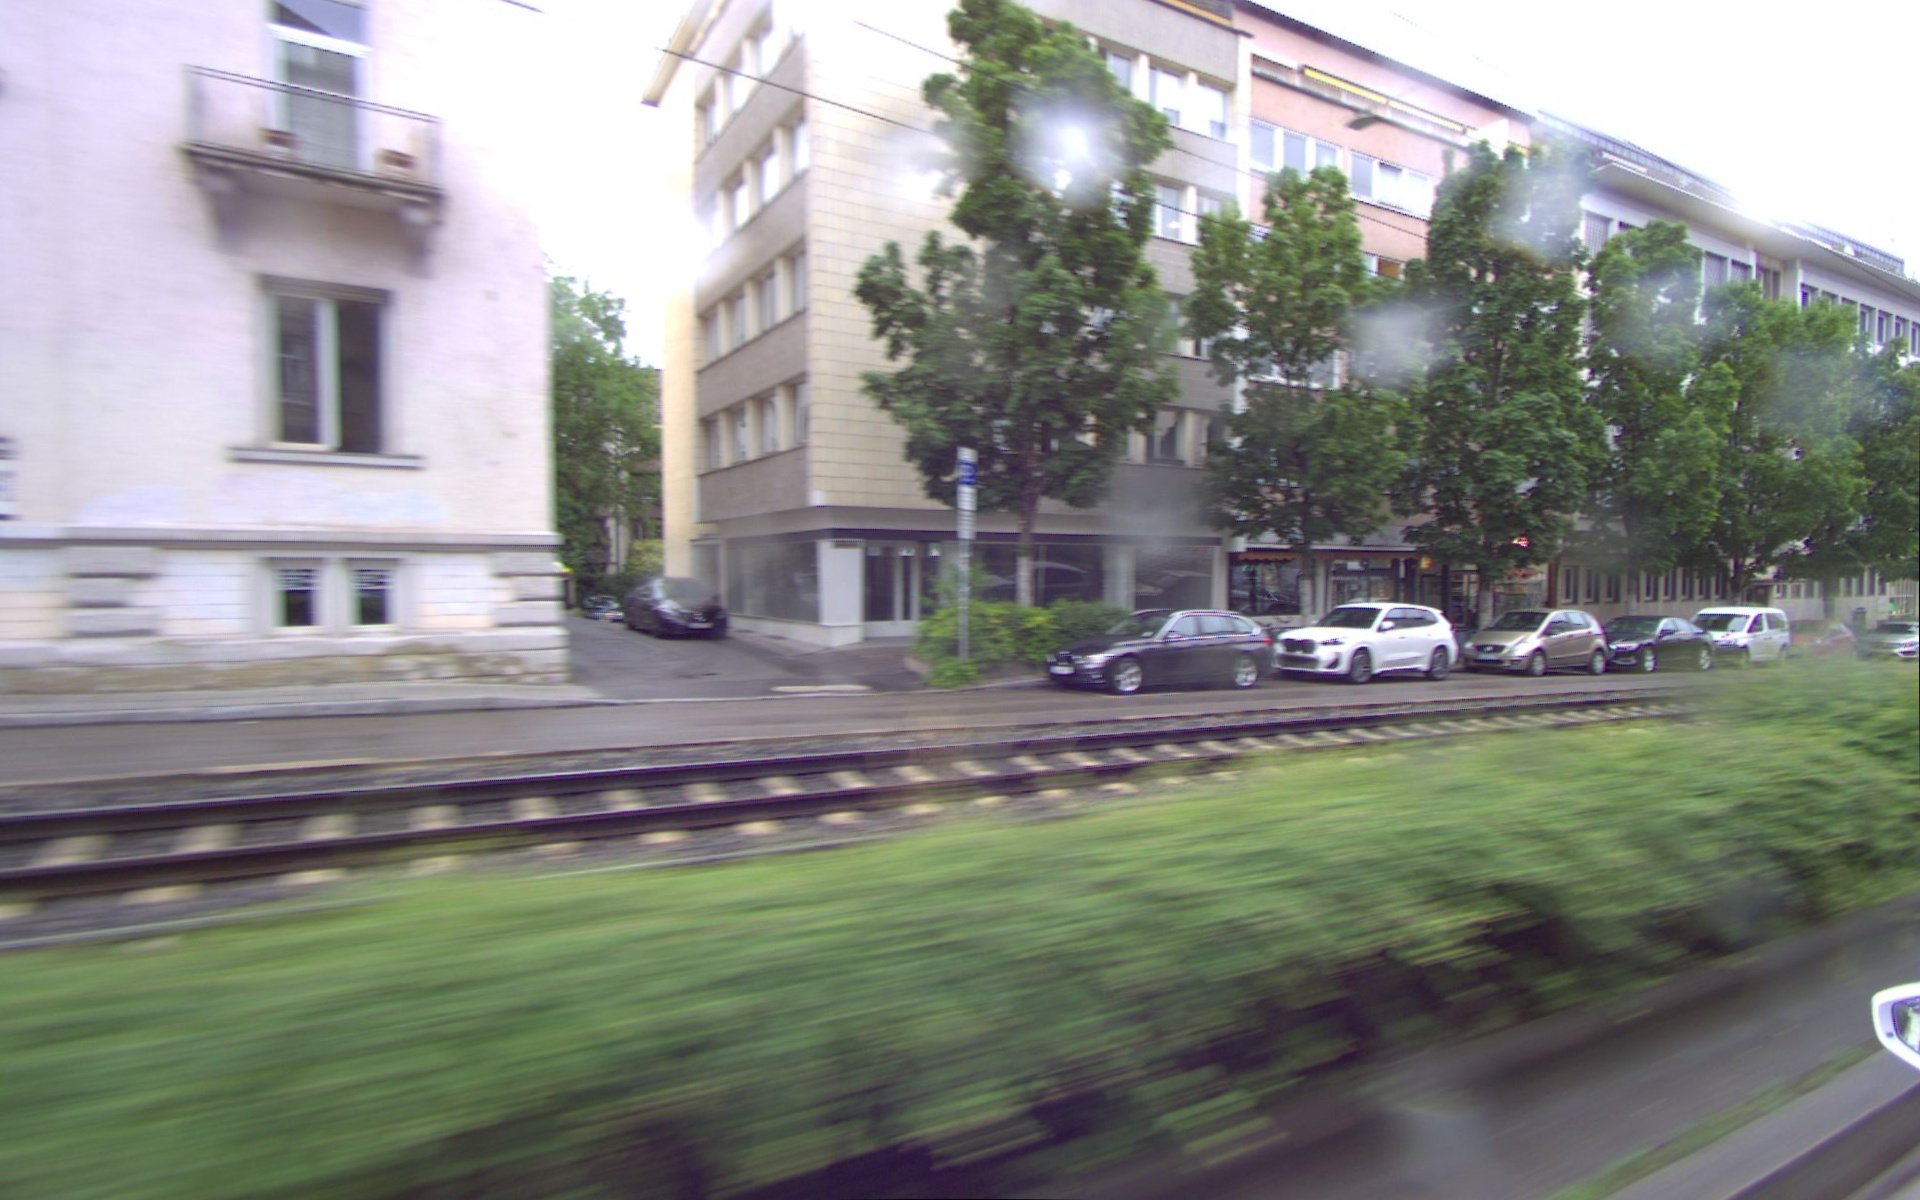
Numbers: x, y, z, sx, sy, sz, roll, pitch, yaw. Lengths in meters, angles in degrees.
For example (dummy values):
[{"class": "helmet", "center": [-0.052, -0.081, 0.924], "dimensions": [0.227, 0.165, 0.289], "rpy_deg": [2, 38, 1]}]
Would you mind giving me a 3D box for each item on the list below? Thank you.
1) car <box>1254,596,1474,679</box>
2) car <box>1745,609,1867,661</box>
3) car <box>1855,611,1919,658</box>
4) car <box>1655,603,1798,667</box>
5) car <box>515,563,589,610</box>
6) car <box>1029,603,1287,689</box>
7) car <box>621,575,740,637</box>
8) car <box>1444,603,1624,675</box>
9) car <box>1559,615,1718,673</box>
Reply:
[{"class": "car", "center": [8.657, 0.815, 21.406], "dimensions": [4.666, 1.569, 1.846], "rpy_deg": [3, 1, -30]}, {"class": "car", "center": [28.118, 1.169, 33.368], "dimensions": [3.999, 1.547, 1.846], "rpy_deg": [3, 1, -30]}, {"class": "car", "center": [34.733, 1.289, 36.825], "dimensions": [3.999, 1.579, 1.659], "rpy_deg": [3, 1, -30]}, {"class": "car", "center": [23.065, 1.073, 30.201], "dimensions": [4.380, 1.723, 1.846], "rpy_deg": [3, 1, -30]}, {"class": "car", "center": [-14.820, -0.504, 36.338], "dimensions": [1.840, 1.582, 4.090], "rpy_deg": [2, 1, -31]}, {"class": "car", "center": [3.663, 0.854, 18.247], "dimensions": [4.666, 1.395, 1.685], "rpy_deg": [3, -2, -31]}, {"class": "car", "center": [-7.301, 0.112, 25.920], "dimensions": [1.840, 1.437, 4.393], "rpy_deg": [2, 1, -31]}, {"class": "car", "center": [14.070, 0.958, 24.574], "dimensions": [4.380, 1.569, 1.846], "rpy_deg": [3, 1, -30]}, {"class": "car", "center": [18.223, 1.187, 26.949], "dimensions": [4.380, 1.436, 1.846], "rpy_deg": [3, -2, -30]}]
